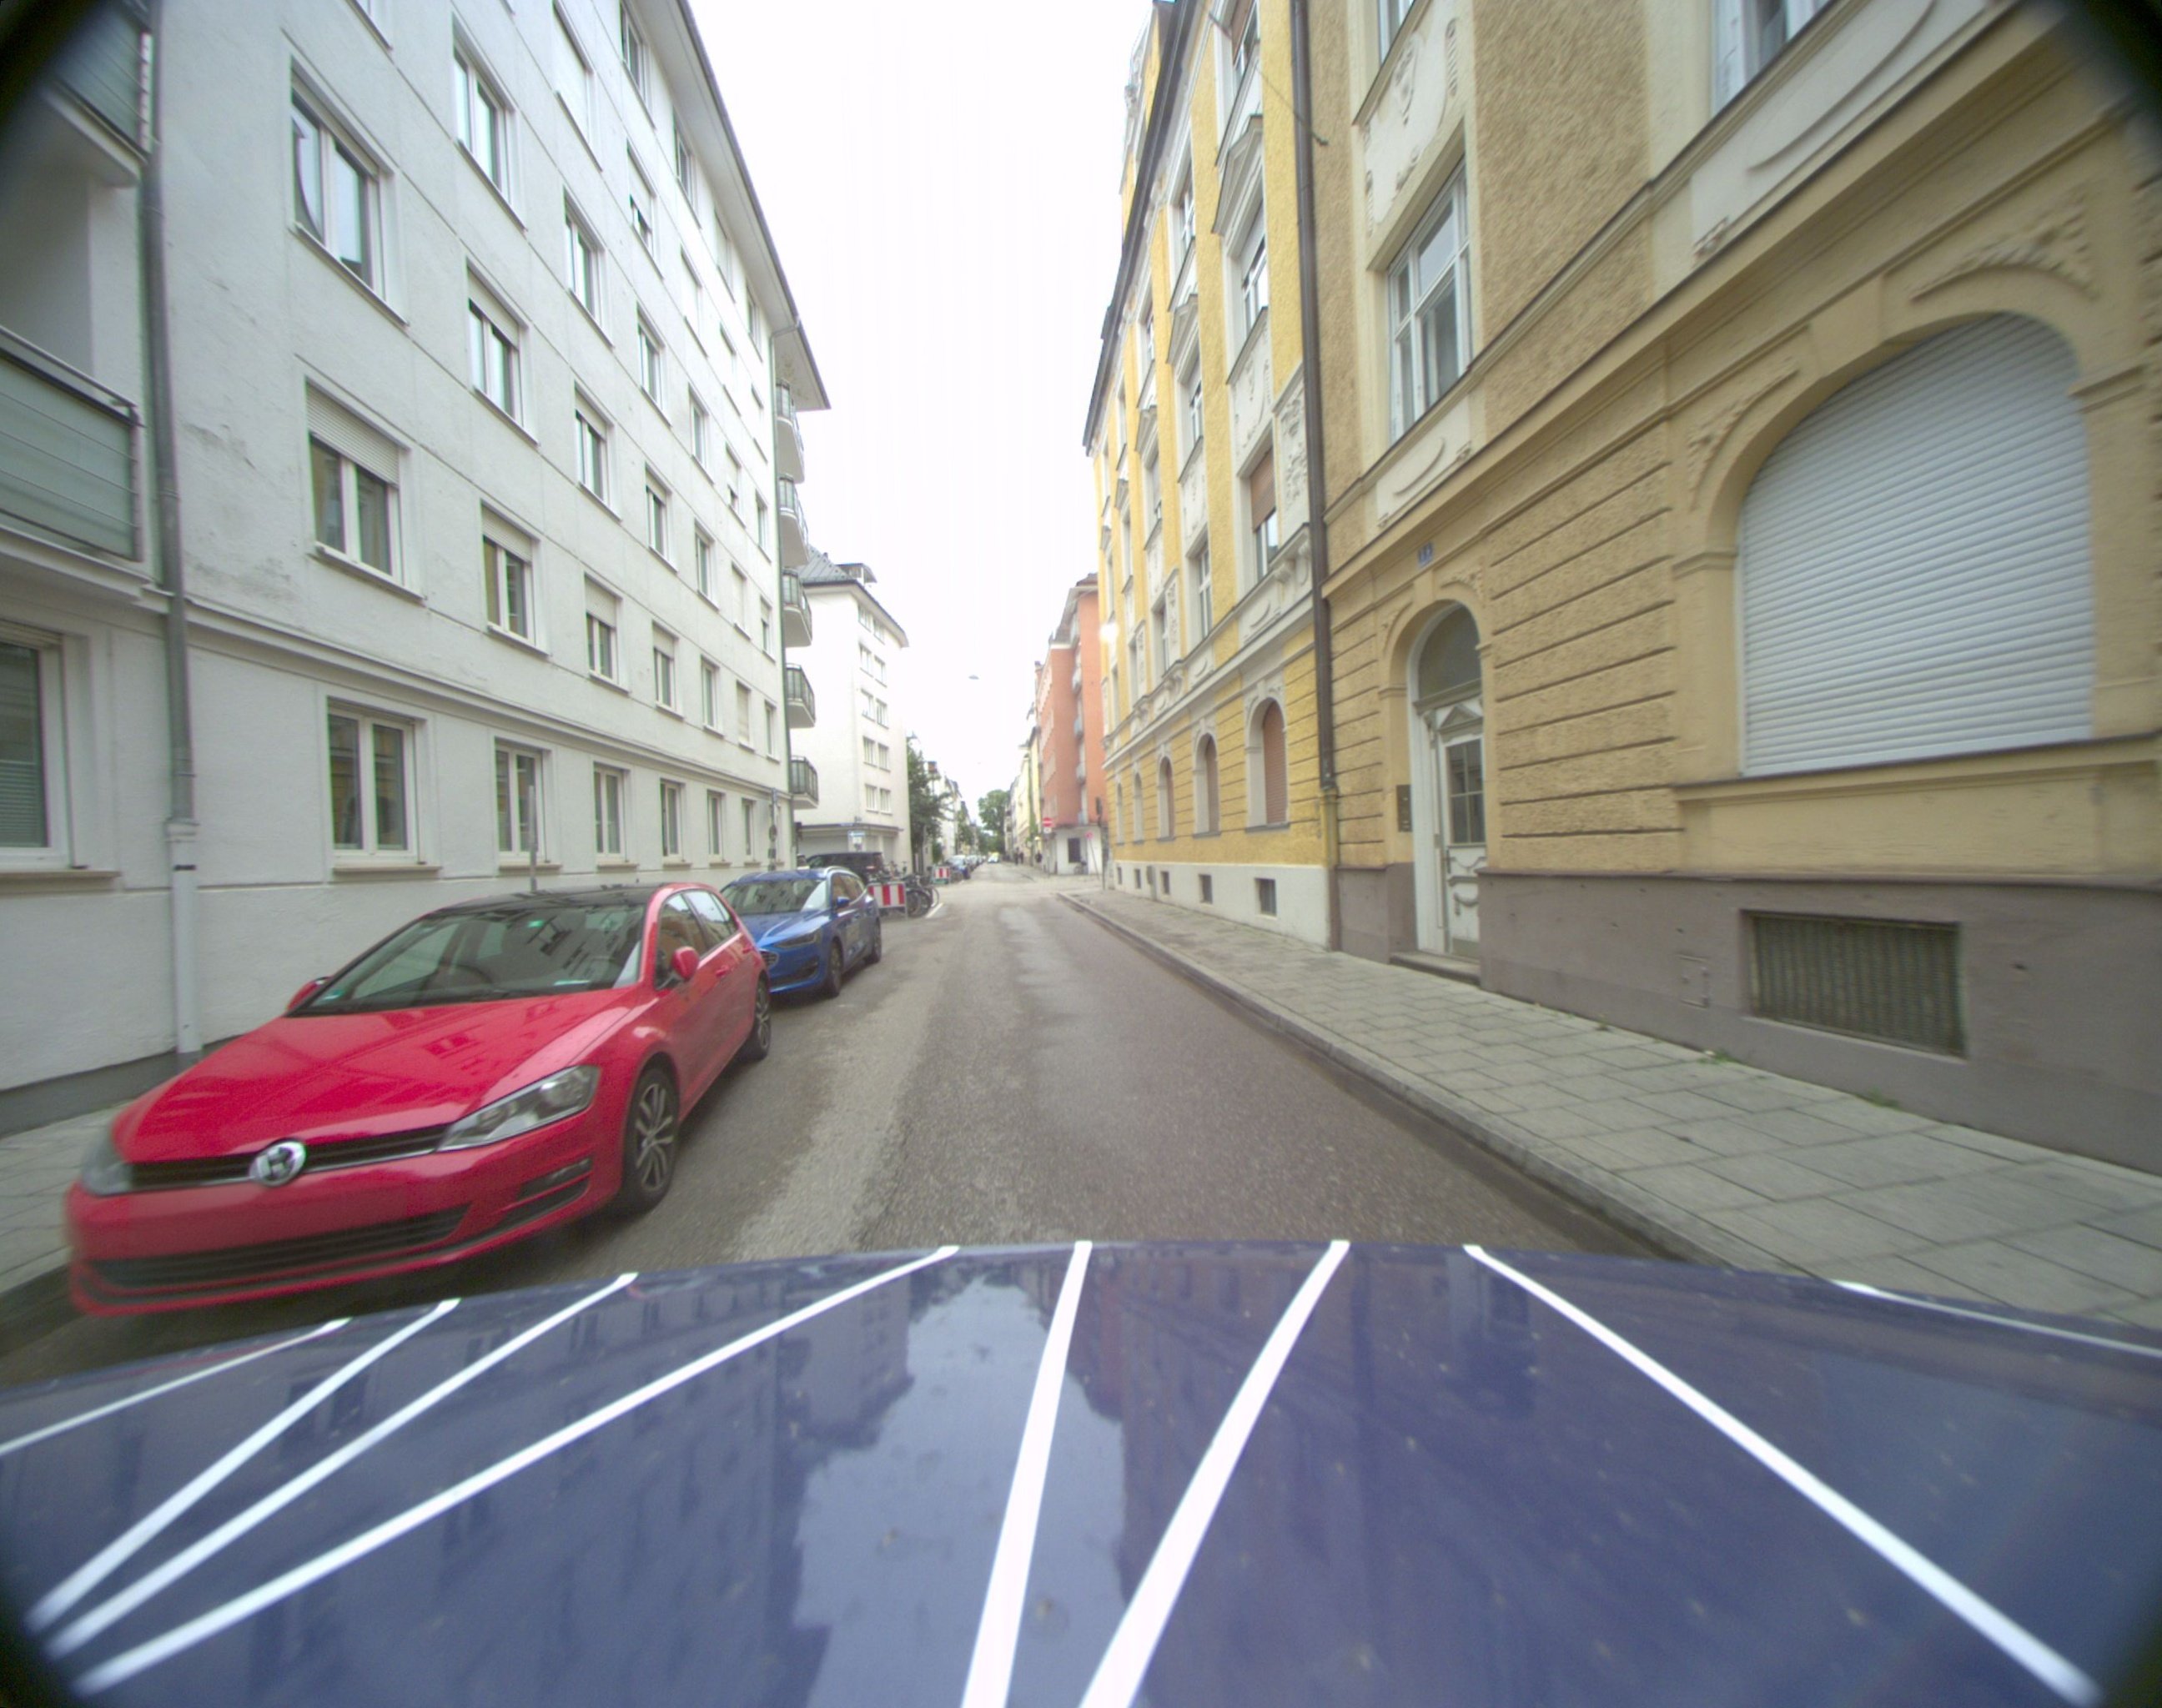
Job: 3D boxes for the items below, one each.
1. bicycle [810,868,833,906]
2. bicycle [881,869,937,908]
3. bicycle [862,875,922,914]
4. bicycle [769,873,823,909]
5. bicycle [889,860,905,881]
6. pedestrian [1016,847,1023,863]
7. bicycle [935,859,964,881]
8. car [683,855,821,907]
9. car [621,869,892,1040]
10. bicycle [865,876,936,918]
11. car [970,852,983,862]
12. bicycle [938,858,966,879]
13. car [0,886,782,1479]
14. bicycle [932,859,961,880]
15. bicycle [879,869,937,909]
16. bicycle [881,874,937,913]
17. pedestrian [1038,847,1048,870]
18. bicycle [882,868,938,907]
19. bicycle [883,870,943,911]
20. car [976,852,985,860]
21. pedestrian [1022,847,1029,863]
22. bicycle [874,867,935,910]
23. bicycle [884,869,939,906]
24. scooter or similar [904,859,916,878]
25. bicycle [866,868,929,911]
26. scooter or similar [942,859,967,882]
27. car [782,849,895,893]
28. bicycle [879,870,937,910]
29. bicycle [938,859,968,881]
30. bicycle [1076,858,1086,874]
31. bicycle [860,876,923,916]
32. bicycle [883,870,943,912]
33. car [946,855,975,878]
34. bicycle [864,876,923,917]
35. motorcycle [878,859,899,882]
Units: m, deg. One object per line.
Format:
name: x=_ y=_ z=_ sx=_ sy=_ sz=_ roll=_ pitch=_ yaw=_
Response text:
bicycle: x=-8.568 y=1.063 z=25.025 sx=0.400 sy=1.197 sz=1.502 roll=-1 pitch=1 yaw=-31
bicycle: x=-5.512 y=1.107 z=24.411 sx=1.700 sy=1.154 sz=0.313 roll=-2 pitch=1 yaw=-7
bicycle: x=-5.135 y=1.097 z=20.686 sx=1.521 sy=1.037 sz=0.360 roll=0 pitch=1 yaw=1
bicycle: x=-8.674 y=1.114 z=23.153 sx=1.503 sy=1.037 sz=0.398 roll=-1 pitch=1 yaw=-25
bicycle: x=-11.163 y=0.973 z=46.171 sx=0.529 sy=1.207 sz=1.609 roll=-2 pitch=1 yaw=1
pedestrian: x=-6.994 y=0.151 z=86.923 sx=0.726 sy=1.783 sz=0.829 roll=-2 pitch=1 yaw=-6
bicycle: x=-7.727 y=0.927 z=44.644 sx=1.609 sy=1.207 sz=0.529 roll=-2 pitch=1 yaw=-4
car: x=-13.176 y=1.053 z=30.637 sx=4.617 sy=1.862 sz=1.933 roll=-2 pitch=1 yaw=1
car: x=-3.716 y=1.020 z=9.642 sx=1.800 sy=1.430 sz=4.381 roll=-4 pitch=1 yaw=-5
bicycle: x=-4.588 y=1.098 z=19.362 sx=1.708 sy=1.037 sz=0.360 roll=0 pitch=1 yaw=-6
car: x=-14.961 y=0.392 z=108.564 sx=1.654 sy=1.390 sz=3.997 roll=-2 pitch=1 yaw=-6
bicycle: x=-8.076 y=0.902 z=47.601 sx=1.609 sy=1.207 sz=0.529 roll=-2 pitch=1 yaw=-4
car: x=-3.089 y=1.054 z=4.391 sx=1.767 sy=1.438 sz=4.294 roll=-4 pitch=1 yaw=-12
bicycle: x=-7.994 y=0.929 z=45.179 sx=1.609 sy=1.207 sz=0.529 roll=-2 pitch=1 yaw=-4
bicycle: x=-5.462 y=1.103 z=24.046 sx=1.700 sy=1.154 sz=0.378 roll=-2 pitch=1 yaw=-7
bicycle: x=-4.767 y=1.089 z=21.068 sx=1.442 sy=1.037 sz=0.360 roll=0 pitch=1 yaw=2
pedestrian: x=-2.813 y=0.339 z=55.984 sx=0.613 sy=1.684 sz=0.565 roll=-2 pitch=1 yaw=-7
bicycle: x=-5.558 y=1.085 z=24.736 sx=1.700 sy=1.154 sz=0.313 roll=-2 pitch=1 yaw=-7
bicycle: x=-5.094 y=1.096 z=23.112 sx=1.700 sy=1.154 sz=0.378 roll=-2 pitch=1 yaw=-7
car: x=-18.859 y=0.430 z=142.960 sx=1.654 sy=1.390 sz=3.997 roll=-2 pitch=1 yaw=-6
pedestrian: x=-6.357 y=0.140 z=87.030 sx=0.700 sy=1.783 sz=0.763 roll=-2 pitch=1 yaw=-6
bicycle: x=-5.154 y=1.001 z=22.224 sx=1.667 sy=1.154 sz=0.378 roll=-2 pitch=1 yaw=-7
bicycle: x=-5.593 y=1.100 z=25.141 sx=1.700 sy=1.154 sz=0.418 roll=-2 pitch=1 yaw=-7
scooter or similar: x=-11.085 y=0.923 z=49.254 sx=0.407 sy=1.160 sz=1.493 roll=-2 pitch=1 yaw=1
bicycle: x=-5.251 y=1.014 z=21.799 sx=1.700 sy=1.154 sz=0.378 roll=-2 pitch=1 yaw=-7
scooter or similar: x=-7.111 y=0.930 z=42.705 sx=1.341 sy=1.207 sz=0.344 roll=-2 pitch=1 yaw=-4
car: x=-11.481 y=0.801 z=36.191 sx=4.679 sy=1.880 sz=1.934 roll=-2 pitch=0 yaw=2
bicycle: x=-5.378 y=1.106 z=23.655 sx=1.700 sy=1.154 sz=0.378 roll=-2 pitch=1 yaw=-7
bicycle: x=-7.431 y=0.924 z=44.103 sx=1.609 sy=1.207 sz=0.529 roll=-2 pitch=1 yaw=-4
bicycle: x=0.002 y=0.698 z=45.359 sx=0.391 sy=0.932 sz=1.539 roll=-2 pitch=0 yaw=-6
bicycle: x=-5.014 y=1.101 z=20.146 sx=1.591 sy=1.037 sz=0.323 roll=0 pitch=1 yaw=2
bicycle: x=-5.009 y=1.098 z=22.721 sx=1.700 sy=1.154 sz=0.378 roll=-2 pitch=1 yaw=-7
car: x=-7.972 y=0.803 z=50.476 sx=1.654 sy=1.390 sz=3.997 roll=-2 pitch=1 yaw=-6
bicycle: x=-4.888 y=1.101 z=19.796 sx=1.439 sy=1.037 sz=0.330 roll=0 pitch=1 yaw=2
motorcycle: x=-11.162 y=0.938 z=44.091 sx=0.660 sy=1.225 sz=1.936 roll=-2 pitch=1 yaw=1
